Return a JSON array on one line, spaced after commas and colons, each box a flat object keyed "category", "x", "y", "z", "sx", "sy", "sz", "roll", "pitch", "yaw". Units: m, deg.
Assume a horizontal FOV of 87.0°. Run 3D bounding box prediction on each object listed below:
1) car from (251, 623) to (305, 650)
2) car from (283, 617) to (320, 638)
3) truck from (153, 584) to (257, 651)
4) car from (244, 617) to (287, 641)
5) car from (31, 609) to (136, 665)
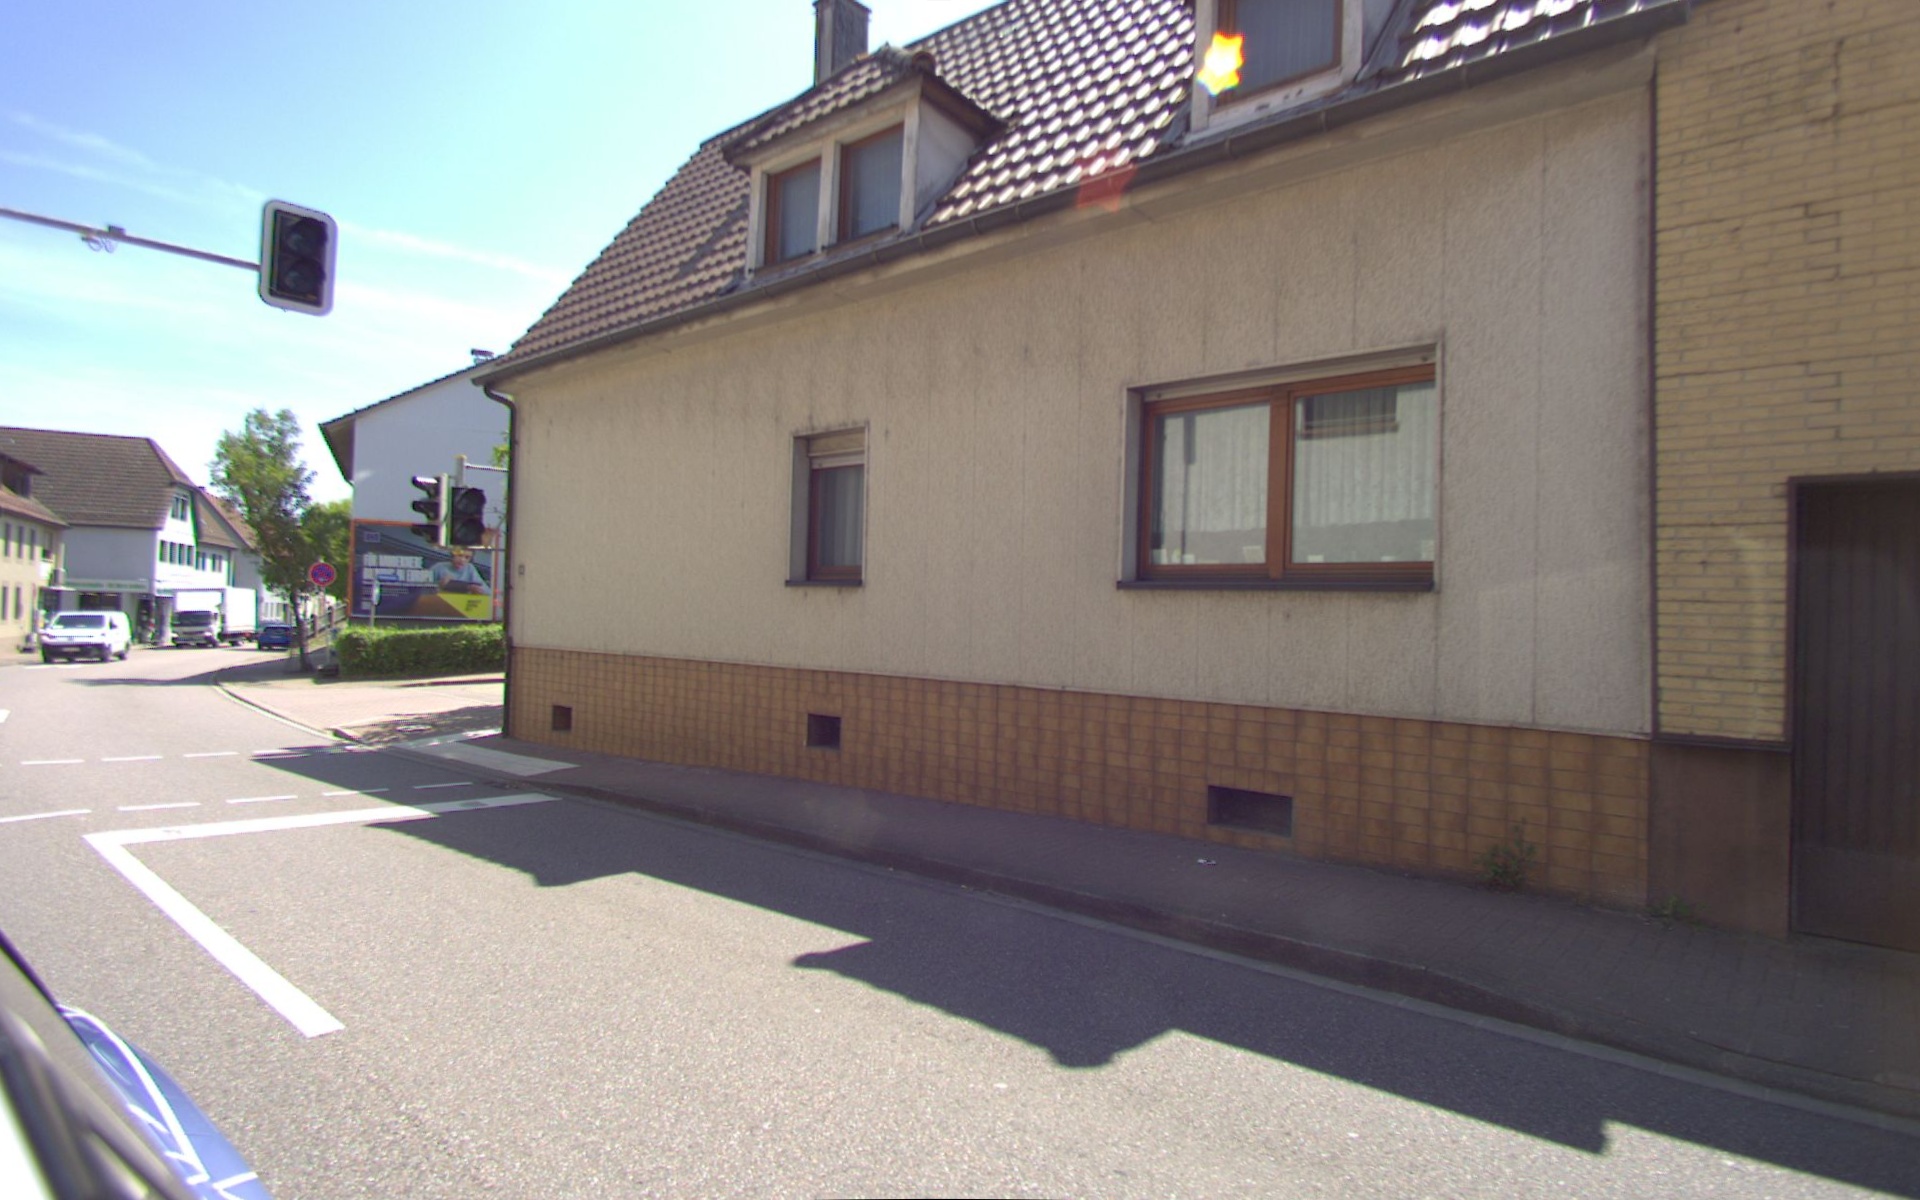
[{"category": "car", "x": -38.766, "y": 2.058, "z": 57.601, "sx": 1.756, "sy": 1.440, "sz": 4.154, "roll": 1, "pitch": -1, "yaw": -23}, {"category": "car", "x": -54.850, "y": 2.258, "z": 84.376, "sx": 1.965, "sy": 1.630, "sz": 4.013, "roll": -1, "pitch": 0, "yaw": -25}, {"category": "truck", "x": -43.818, "y": 1.022, "z": 59.030, "sx": 2.819, "sy": 3.539, "sz": 8.347, "roll": 3, "pitch": -2, "yaw": -23}, {"category": "car", "x": -48.059, "y": 2.011, "z": 70.096, "sx": 1.836, "sy": 1.541, "sz": 4.013, "roll": -1, "pitch": 0, "yaw": -25}, {"category": "car", "x": -33.414, "y": 1.347, "z": 38.741, "sx": 2.045, "sy": 1.975, "sz": 5.535, "roll": 1, "pitch": -1, "yaw": -31}]
